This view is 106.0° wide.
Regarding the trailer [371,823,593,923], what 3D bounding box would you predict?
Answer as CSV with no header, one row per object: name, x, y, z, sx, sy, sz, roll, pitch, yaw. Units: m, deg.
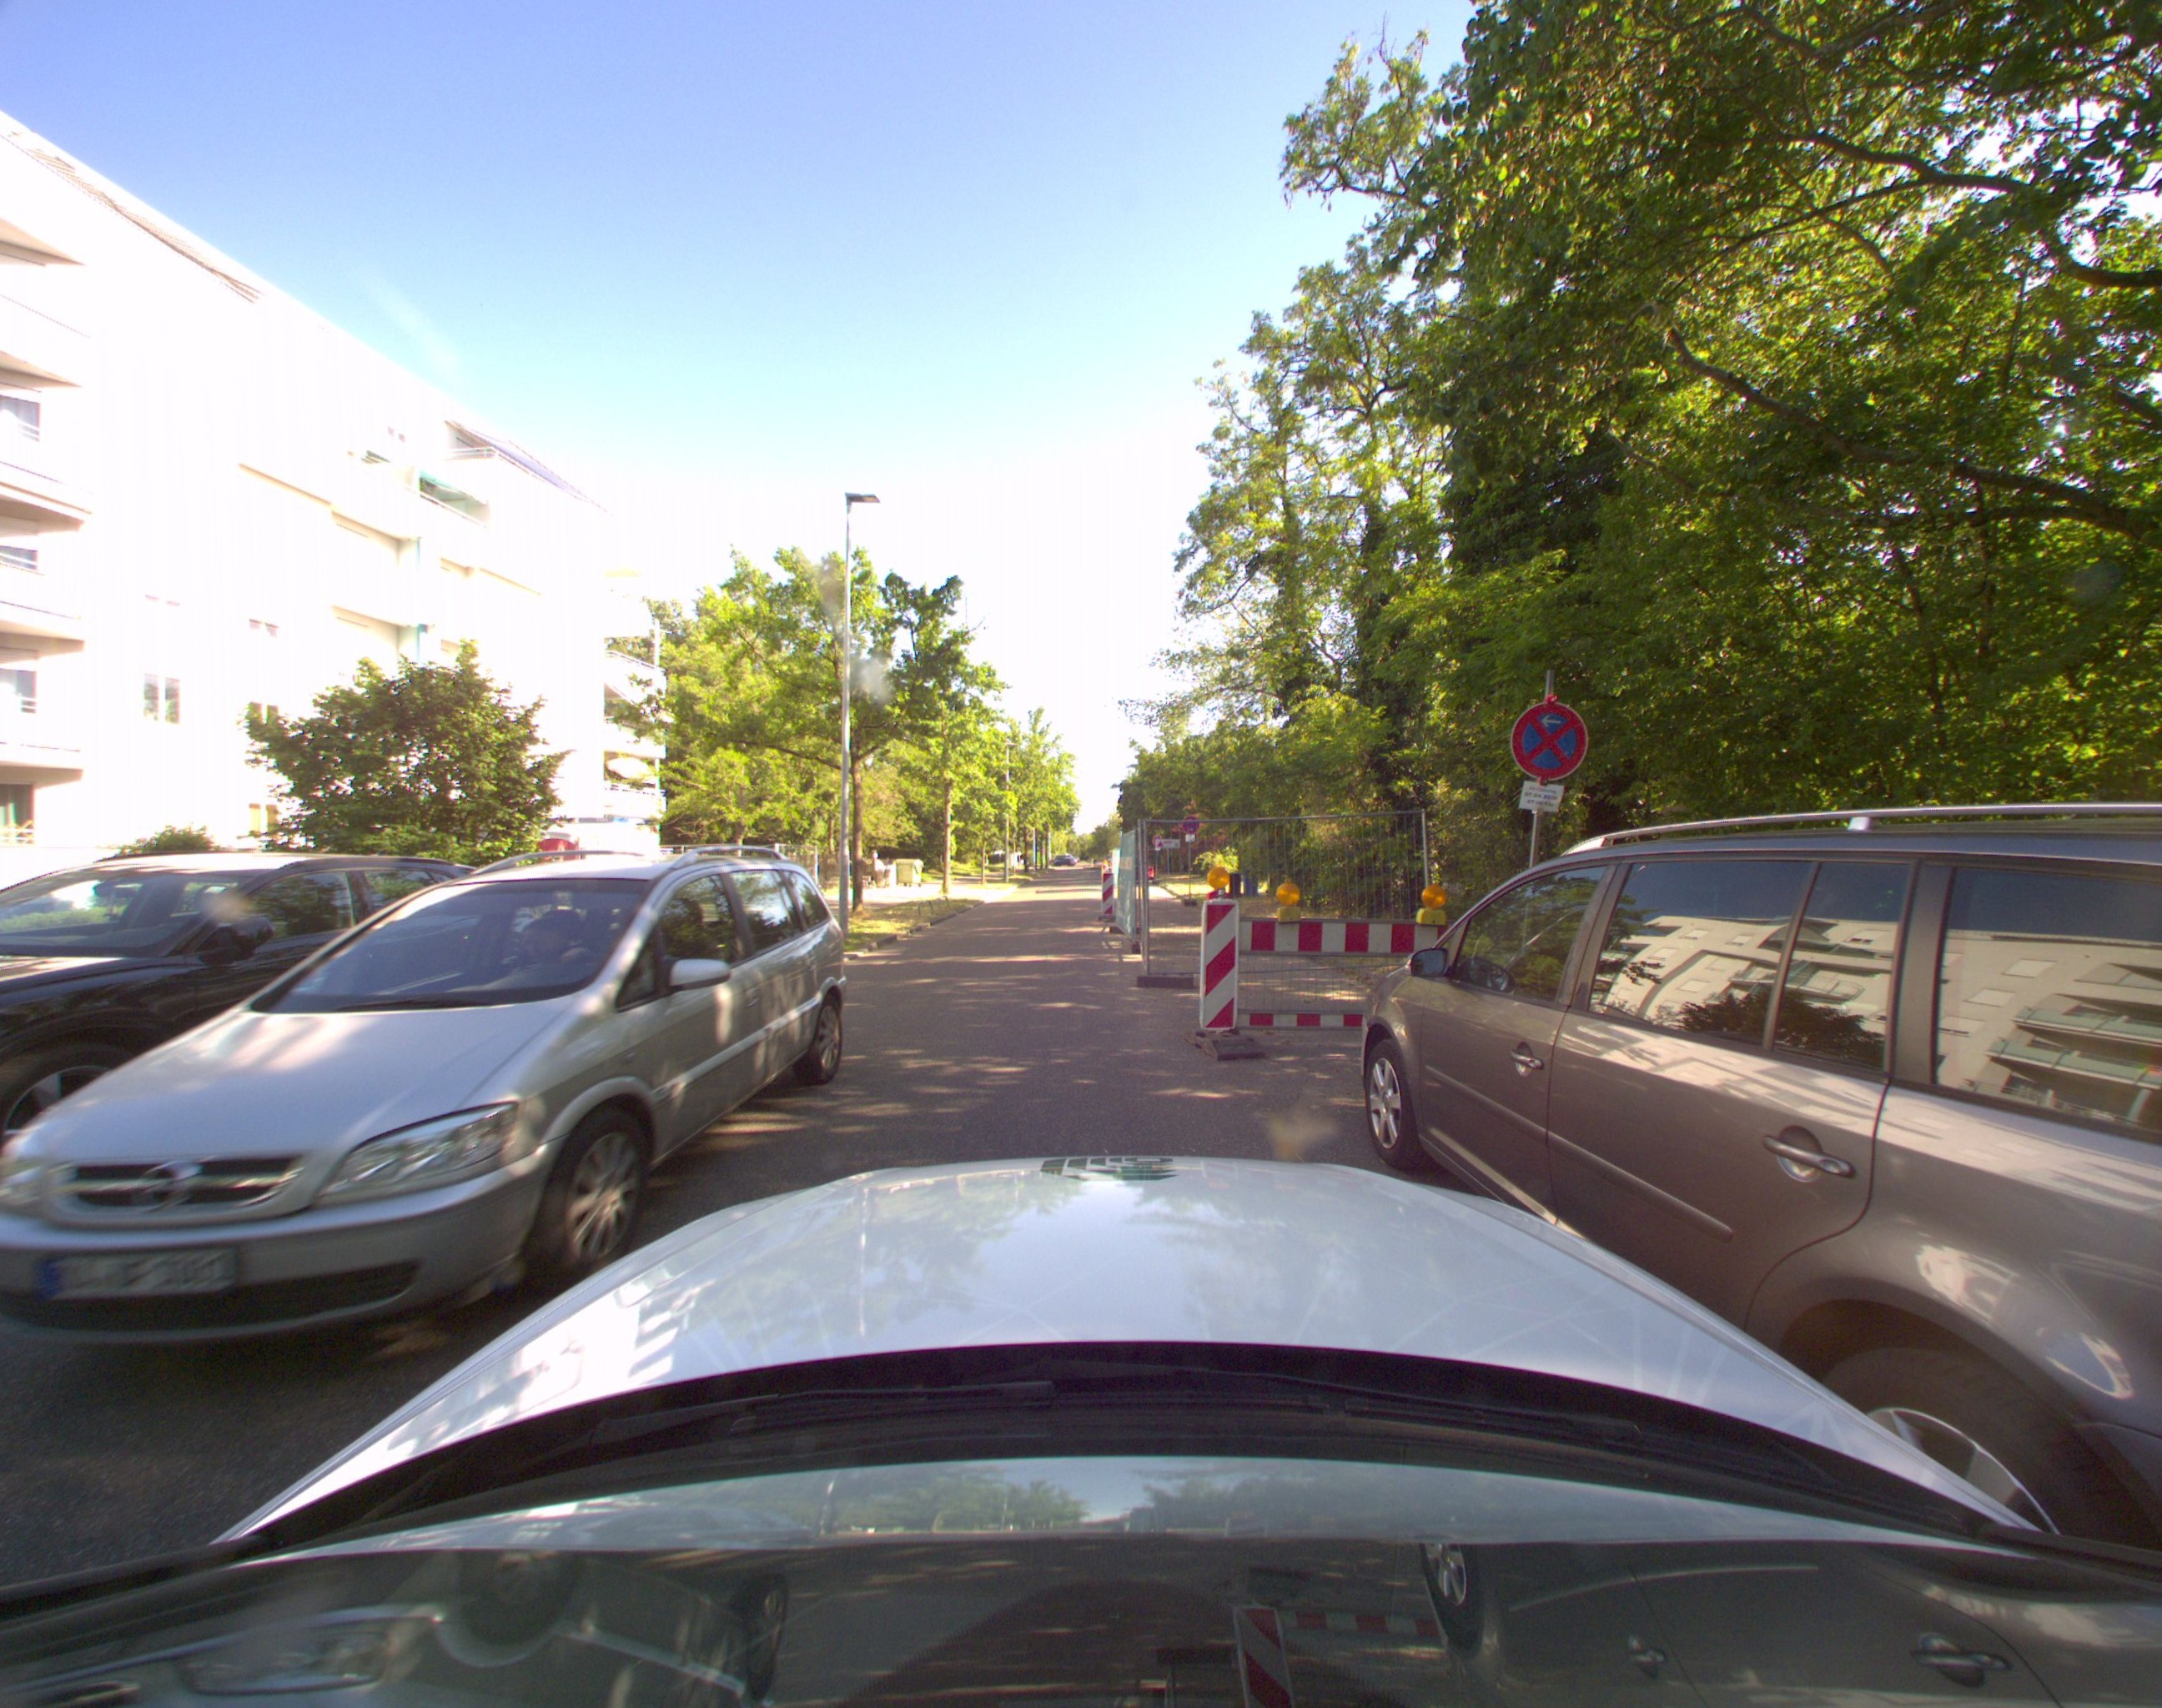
trailer,-14.242,0.415,19.745,1.855,2.120,4.351,1,0,5

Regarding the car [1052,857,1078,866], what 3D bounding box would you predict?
car,-2.890,1.360,147.696,4.294,1.576,2.050,1,0,7

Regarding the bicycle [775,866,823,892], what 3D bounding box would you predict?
bicycle,-11.543,1.017,33.373,1.839,1.027,0.399,0,-1,-12

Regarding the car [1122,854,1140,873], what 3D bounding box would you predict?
car,5.068,0.951,82.507,1.617,1.773,3.670,1,0,1

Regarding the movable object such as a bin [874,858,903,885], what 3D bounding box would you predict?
movable object such as a bin,-10.539,0.928,44.549,1.149,1.435,1.260,-1,0,-33

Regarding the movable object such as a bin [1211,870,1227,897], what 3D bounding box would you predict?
movable object such as a bin,4.622,0.996,27.298,0.411,0.870,0.484,-2,-1,1

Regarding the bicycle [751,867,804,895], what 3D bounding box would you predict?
bicycle,-11.569,1.010,31.063,1.870,1.027,0.399,0,-1,-12

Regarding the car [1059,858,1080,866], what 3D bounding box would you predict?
car,-2.366,1.549,163.997,4.090,1.576,1.960,1,0,3

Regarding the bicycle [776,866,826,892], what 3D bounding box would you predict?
bicycle,-11.630,1.027,33.838,1.916,1.027,0.399,-1,-1,-12

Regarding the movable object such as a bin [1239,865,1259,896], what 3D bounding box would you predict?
movable object such as a bin,5.624,0.887,27.256,0.517,0.999,0.608,-2,-1,1

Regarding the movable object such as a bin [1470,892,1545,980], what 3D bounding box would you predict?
movable object such as a bin,4.491,0.849,8.598,0.482,0.861,0.559,0,-1,-2

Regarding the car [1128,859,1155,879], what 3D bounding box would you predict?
car,4.255,1.042,57.939,1.655,1.375,4.155,1,0,1

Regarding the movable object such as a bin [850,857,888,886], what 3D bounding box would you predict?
movable object such as a bin,-10.865,0.906,41.792,1.257,1.435,1.334,-1,0,29

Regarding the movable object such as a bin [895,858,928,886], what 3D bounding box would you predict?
movable object such as a bin,-8.953,0.949,42.969,1.259,1.435,1.187,-1,0,17

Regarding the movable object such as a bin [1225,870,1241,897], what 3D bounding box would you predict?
movable object such as a bin,5.113,0.976,27.385,0.411,0.870,0.484,-2,-1,1

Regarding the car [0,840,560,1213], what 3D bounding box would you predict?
car,-5.557,0.745,5.100,1.769,1.621,4.221,1,0,1

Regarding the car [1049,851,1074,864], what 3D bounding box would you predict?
car,-4.128,0.796,172.969,5.189,2.621,2.290,1,0,-4

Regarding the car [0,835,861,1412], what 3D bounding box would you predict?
car,-2.583,0.788,4.347,1.654,1.596,4.008,-2,0,0

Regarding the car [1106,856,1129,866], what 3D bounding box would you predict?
car,6.453,1.219,143.082,3.817,1.576,1.692,1,0,7

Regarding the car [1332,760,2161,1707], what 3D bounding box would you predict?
car,2.318,0.692,2.782,1.673,1.621,4.137,0,0,0

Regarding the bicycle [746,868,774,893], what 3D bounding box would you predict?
bicycle,-13.718,1.130,34.828,0.397,1.027,1.702,-1,-1,3

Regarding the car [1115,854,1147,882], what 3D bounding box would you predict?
car,3.182,0.871,51.070,1.801,1.651,4.427,1,0,5
